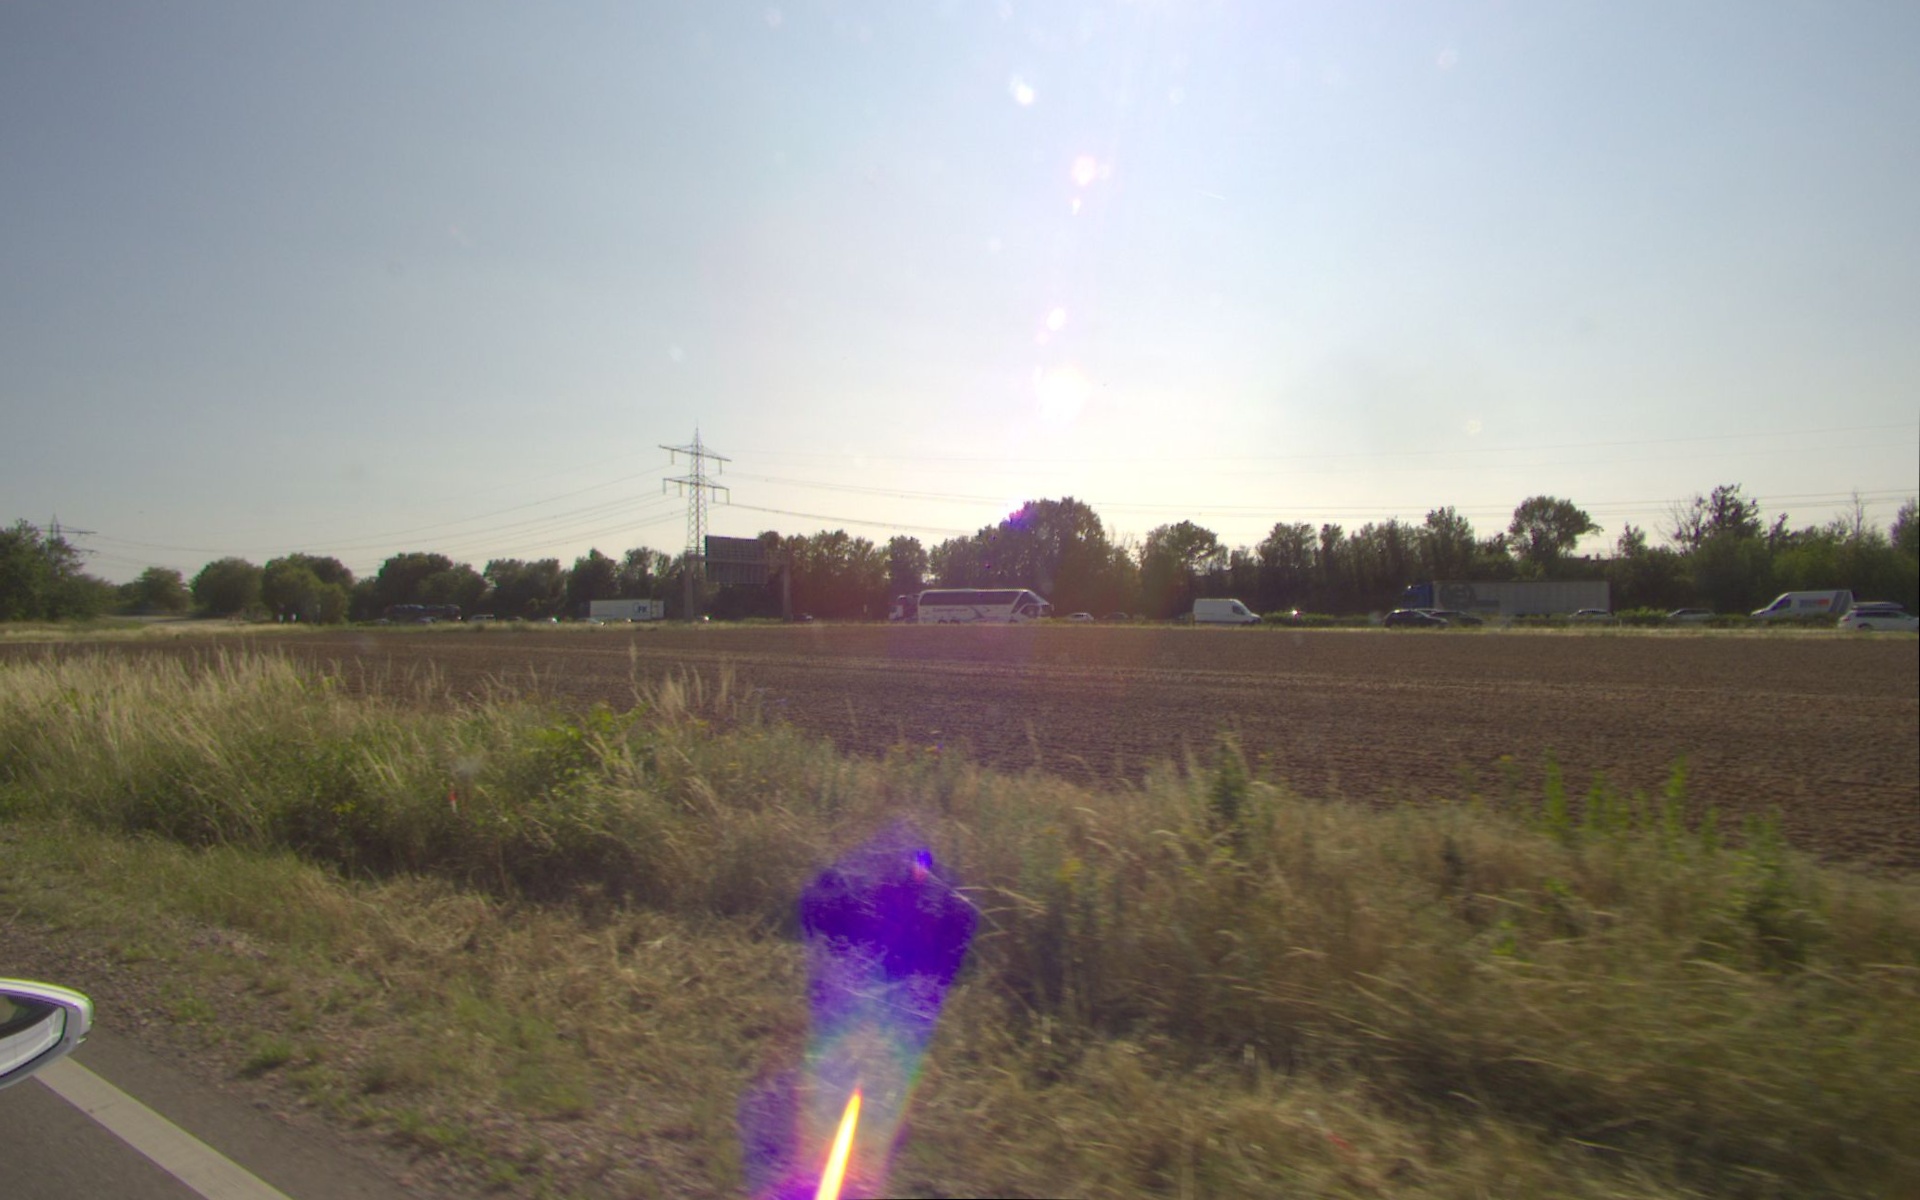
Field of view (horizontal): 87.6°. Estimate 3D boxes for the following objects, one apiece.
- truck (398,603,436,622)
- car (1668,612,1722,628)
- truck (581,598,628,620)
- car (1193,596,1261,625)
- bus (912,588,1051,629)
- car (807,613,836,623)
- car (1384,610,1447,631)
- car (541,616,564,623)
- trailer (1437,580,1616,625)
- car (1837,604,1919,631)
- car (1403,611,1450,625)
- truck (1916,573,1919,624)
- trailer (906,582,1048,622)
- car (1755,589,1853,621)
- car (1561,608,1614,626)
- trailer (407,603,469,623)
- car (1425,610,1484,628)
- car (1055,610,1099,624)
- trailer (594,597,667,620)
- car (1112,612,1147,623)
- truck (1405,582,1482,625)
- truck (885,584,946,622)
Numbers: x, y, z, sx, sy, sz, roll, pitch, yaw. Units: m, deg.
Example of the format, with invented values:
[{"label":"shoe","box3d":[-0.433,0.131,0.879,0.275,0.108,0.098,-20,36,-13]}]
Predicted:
[{"label":"truck","box3d":[-97.199,2.290,179.159,6.334,3.310,3.279,0,0,31]},{"label":"car","box3d":[55.718,1.479,75.952,3.136,1.166,1.392,0,-1,32]},{"label":"truck","box3d":[-54.627,1.328,153.925,6.878,3.310,3.278,-1,0,31]},{"label":"car","box3d":[23.327,0.950,87.601,5.443,2.402,1.990,-1,-2,33]},{"label":"bus","box3d":[1.922,0.806,97.926,14.331,3.854,2.459,0,0,31]},{"label":"car","box3d":[-16.924,2.160,122.339,3.528,1.166,1.393,0,-1,30]},{"label":"car","box3d":[34.322,1.556,75.523,4.151,1.492,1.700,-1,-2,33]},{"label":"car","box3d":[-67.102,3.172,165.001,3.679,1.162,1.664,-1,-2,33]},{"label":"trailer","box3d":[49.432,0.296,87.767,13.442,3.782,3.064,-1,-1,34]},{"label":"car","box3d":[56.814,1.091,61.536,4.136,1.563,1.700,0,-2,33]},{"label":"car","box3d":[39.940,1.567,85.734,3.531,1.166,1.392,0,-1,33]},{"label":"truck","box3d":[73.591,-0.176,72.375,6.032,3.782,3.065,0,-1,34]},{"label":"trailer","box3d":[1.828,0.299,118.415,17.305,4.511,3.415,-1,0,31]},{"label":"car","box3d":[61.268,0.356,72.805,5.162,2.228,1.902,0,-1,32]},{"label":"car","box3d":[50.090,1.335,80.011,3.551,1.403,1.489,0,-1,32]},{"label":"trailer","box3d":[-91.698,2.277,175.752,13.256,3.310,3.278,0,0,32]},{"label":"car","box3d":[38.592,1.498,78.181,4.037,1.391,1.700,-1,-2,33]},{"label":"car","box3d":[12.131,1.752,103.906,4.187,1.403,1.847,0,-1,32]},{"label":"trailer","box3d":[-49.625,1.248,150.804,12.275,3.310,3.278,-1,0,32]},{"label":"car","box3d":[18.193,1.902,107.517,3.528,1.166,1.393,0,-1,30]},{"label":"truck","box3d":[44.077,0.391,91.381,6.003,3.782,3.064,0,-1,34]},{"label":"truck","box3d":[-5.477,0.417,122.770,6.607,4.512,3.415,-1,0,31]}]
